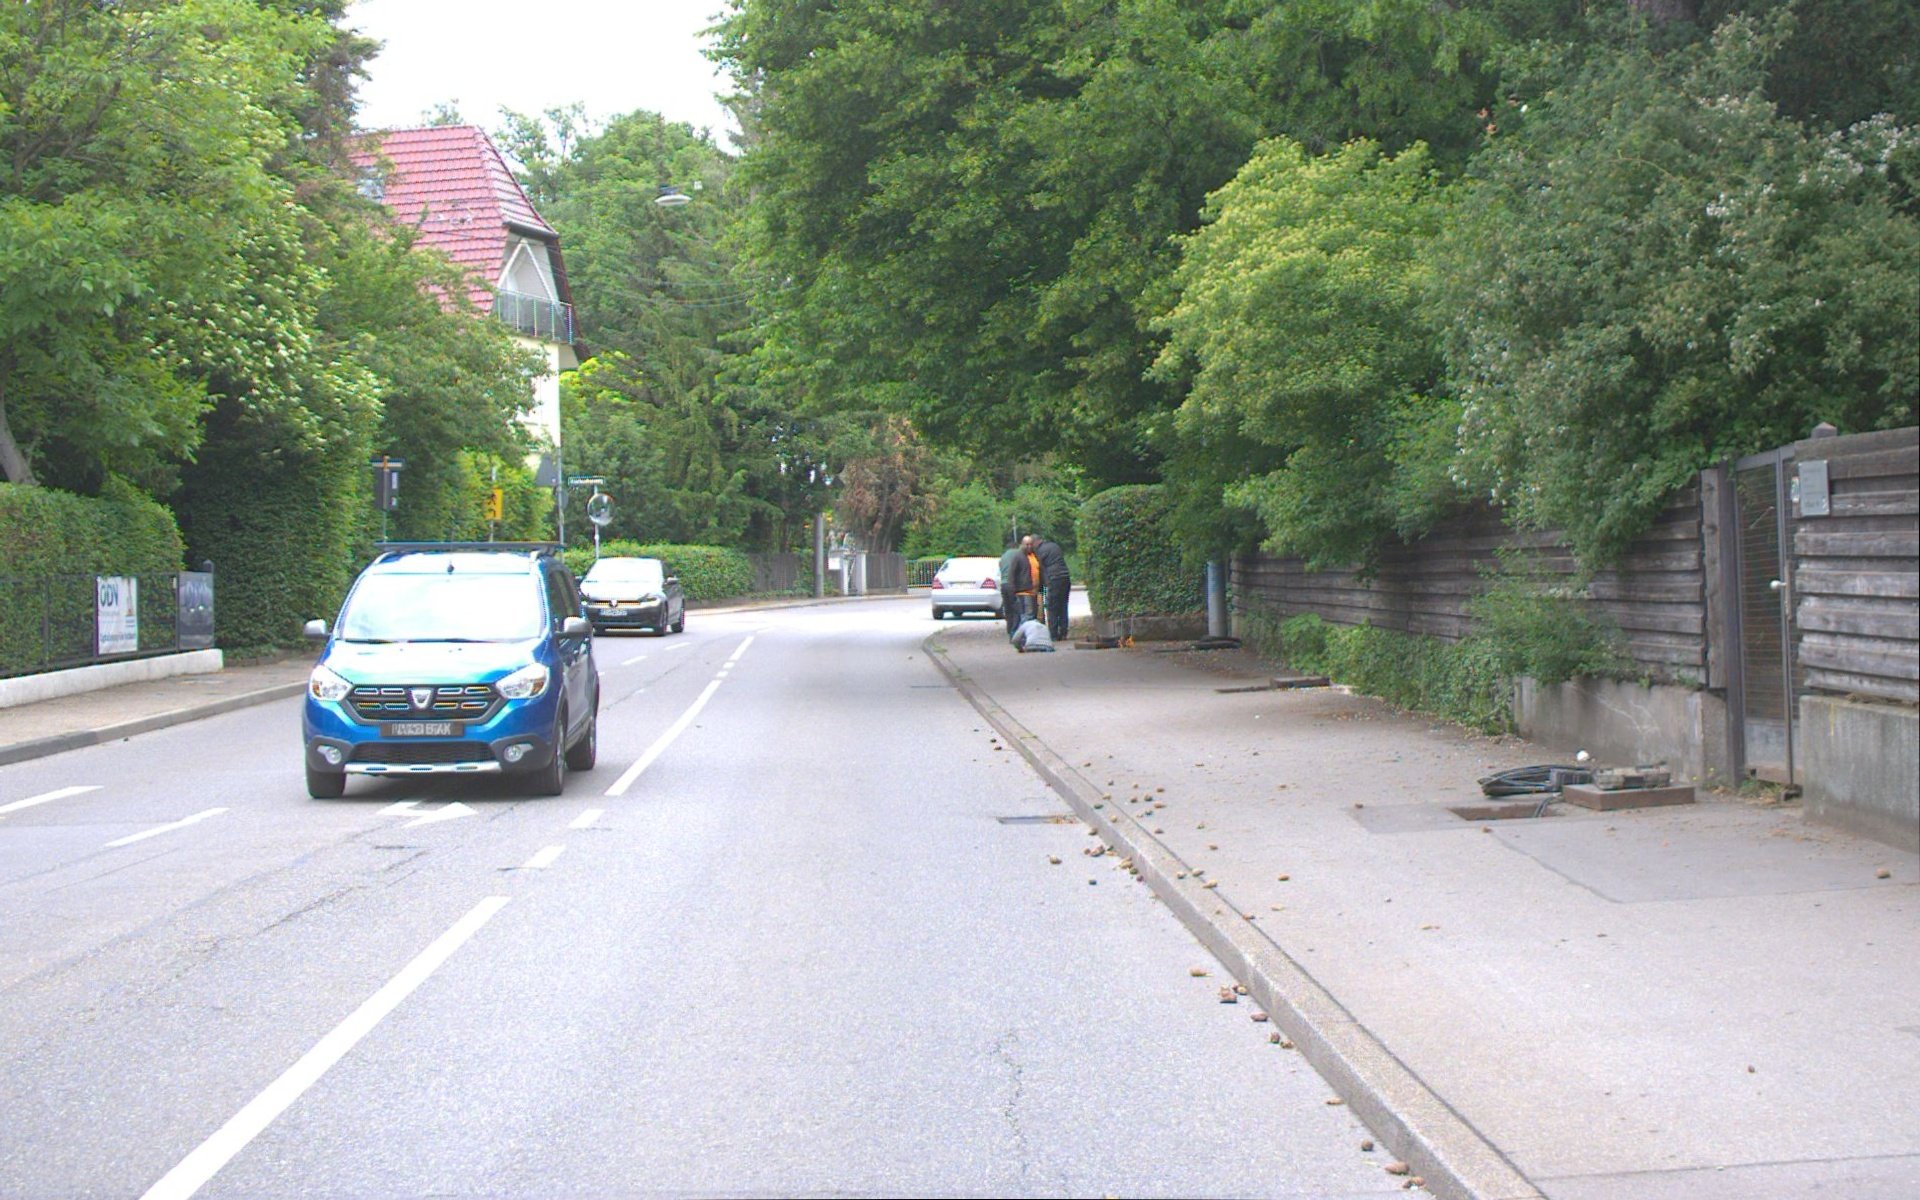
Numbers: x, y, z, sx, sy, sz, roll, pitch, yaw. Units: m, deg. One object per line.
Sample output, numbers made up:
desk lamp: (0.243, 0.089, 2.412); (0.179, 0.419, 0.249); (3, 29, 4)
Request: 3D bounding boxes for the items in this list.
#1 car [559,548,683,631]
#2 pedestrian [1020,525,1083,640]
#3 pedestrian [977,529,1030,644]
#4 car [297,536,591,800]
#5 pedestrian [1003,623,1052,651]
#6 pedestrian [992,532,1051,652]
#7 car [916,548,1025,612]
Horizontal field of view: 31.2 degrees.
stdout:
car: (-6.266, -0.206, 63.917); (1.681, 1.466, 4.017); (-1, 1, 3)
pedestrian: (1.450, -0.273, 54.431); (0.689, 1.801, 0.673); (-2, 1, -43)
pedestrian: (0.691, -0.217, 54.256); (0.601, 1.801, 0.517); (-1, 0, 39)
car: (-3.613, 0.424, 24.721); (1.805, 1.711, 4.379); (0, 0, -5)
pedestrian: (1.002, 0.549, 50.975); (0.672, 0.392, 0.741); (-1, 1, -2)
pedestrian: (0.937, -0.126, 52.594); (0.807, 1.801, 0.741); (-1, 0, -2)
car: (0.275, -0.449, 80.424); (1.798, 1.410, 4.334); (-1, -1, 10)
